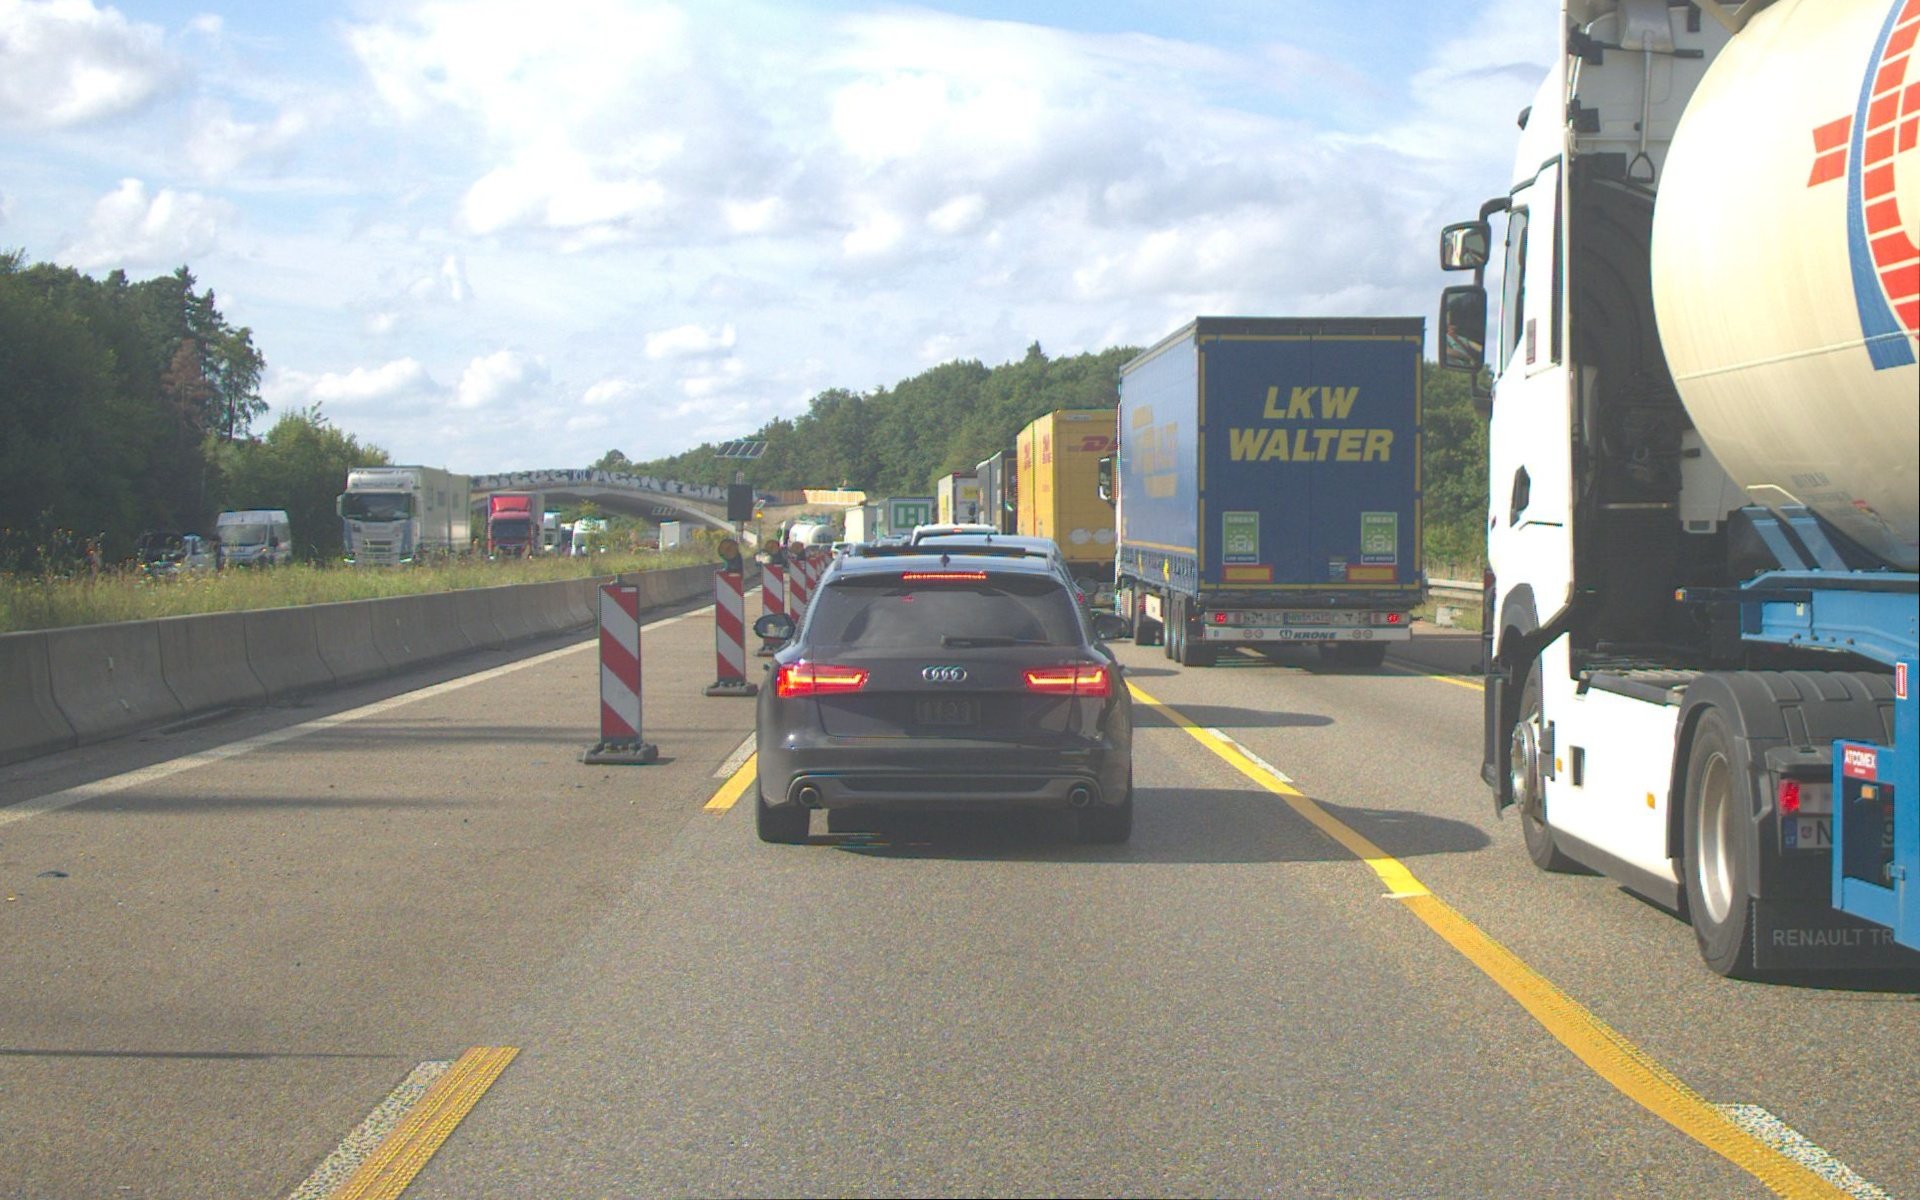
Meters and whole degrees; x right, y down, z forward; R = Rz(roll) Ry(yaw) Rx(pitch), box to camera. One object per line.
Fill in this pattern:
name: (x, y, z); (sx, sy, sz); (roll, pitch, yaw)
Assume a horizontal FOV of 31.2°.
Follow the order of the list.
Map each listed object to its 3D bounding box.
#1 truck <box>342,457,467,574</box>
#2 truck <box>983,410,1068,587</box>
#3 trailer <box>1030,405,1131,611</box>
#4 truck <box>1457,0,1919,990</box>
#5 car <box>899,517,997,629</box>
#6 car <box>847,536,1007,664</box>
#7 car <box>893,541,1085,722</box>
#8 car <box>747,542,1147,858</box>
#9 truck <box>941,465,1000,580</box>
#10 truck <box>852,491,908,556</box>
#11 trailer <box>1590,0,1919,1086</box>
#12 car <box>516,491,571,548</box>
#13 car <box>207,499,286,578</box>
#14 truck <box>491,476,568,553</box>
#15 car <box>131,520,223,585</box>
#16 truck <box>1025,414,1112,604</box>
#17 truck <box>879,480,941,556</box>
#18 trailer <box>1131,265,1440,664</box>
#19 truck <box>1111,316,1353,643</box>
truck: (-19.949, -2.972, 124.112); (2.782, 3.971, 10.863); (1, 1, 0)
truck: (1.855, -2.915, 100.186); (1.993, 4.897, 9.563); (1, 1, -2)
trailer: (2.357, -1.789, 68.696); (1.616, 3.905, 6.489); (1, 1, -1)
truck: (3.816, -0.739, 13.998); (2.659, 3.958, 5.779); (1, 1, 0)
car: (-0.203, -0.465, 58.402); (1.581, 1.830, 3.112); (1, 1, 0)
car: (-0.372, -0.015, 39.921); (1.751, 1.392, 3.608); (1, 1, 0)
car: (0.232, 0.237, 29.270); (1.524, 1.434, 3.285); (1, 1, 0)
car: (-0.064, 0.443, 17.956); (1.848, 1.458, 4.000); (0, 1, 0)
truck: (0.364, -2.931, 131.385); (2.137, 4.243, 7.071); (1, 1, 0)
truck: (-5.285, -4.983, 225.432); (3.303, 4.160, 9.704); (0, 1, -3)
trailer: (3.845, -0.659, 7.138); (2.644, 3.929, 12.598); (1, 1, 0)
car: (-25.488, -4.919, 210.521); (2.487, 3.358, 7.453); (1, 1, -1)
car: (-24.669, -2.115, 118.991); (2.250, 2.634, 5.021); (1, 1, -7)
truck: (-22.921, -4.522, 183.317); (2.800, 3.978, 10.186); (1, 1, 0)
car: (-24.836, -1.493, 109.137); (1.993, 2.007, 4.000); (1, 1, 0)
truck: (2.272, -1.890, 72.838); (1.609, 3.883, 4.072); (1, 1, -1)
truck: (-2.887, -4.589, 194.796); (3.304, 4.160, 9.703); (0, 1, -2)
trailer: (3.875, -1.557, 43.453); (2.805, 4.398, 10.433); (1, 1, 0)
truck: (3.832, -1.664, 50.188); (2.806, 4.354, 7.792); (1, 1, 0)
